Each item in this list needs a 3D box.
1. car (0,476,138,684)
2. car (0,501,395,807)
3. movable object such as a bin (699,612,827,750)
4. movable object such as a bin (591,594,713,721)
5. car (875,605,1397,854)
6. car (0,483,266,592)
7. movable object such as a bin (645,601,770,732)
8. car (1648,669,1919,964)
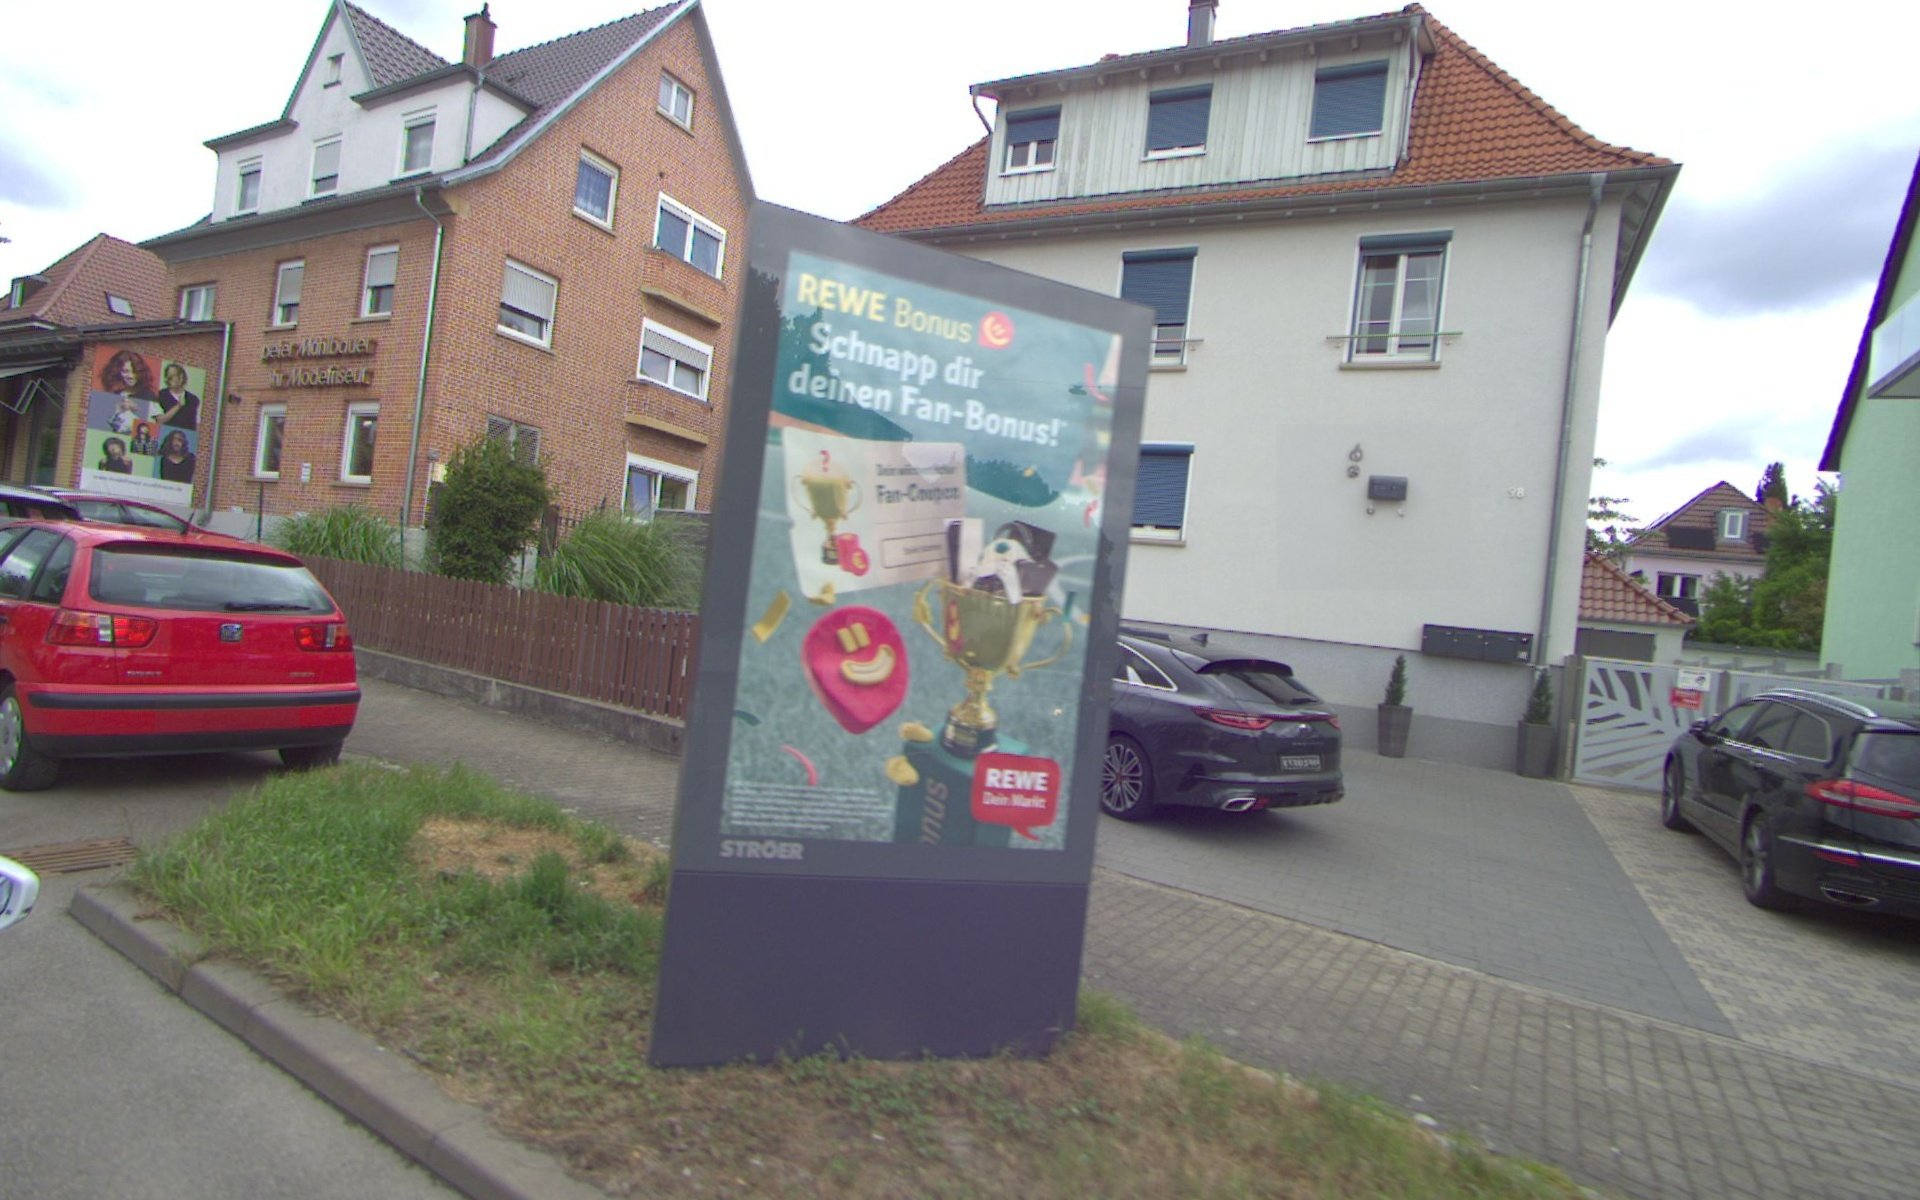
[{"bbox_3d":[-9.155,-0.372,8.696,4.028,1.583,1.666,7,-1,29],"label":"car"},{"bbox_3d":[-5.491,0.170,6.455,3.608,1.410,1.664,7,0,33],"label":"car"},{"bbox_3d":[-1.774,0.727,9.117,0.680,1.117,0.777,7,0,30],"label":"movable object such as a bin"},{"bbox_3d":[-3.018,0.569,9.887,0.680,1.117,0.777,7,0,30],"label":"movable object such as a bin"},{"bbox_3d":[1.229,0.949,8.884,1.808,1.397,4.437,7,-1,-36],"label":"car"},{"bbox_3d":[-14.662,-1.052,17.388,1.777,1.516,3.996,7,1,23],"label":"car"},{"bbox_3d":[-2.385,0.632,9.533,0.680,1.117,0.777,7,0,30],"label":"movable object such as a bin"},{"bbox_3d":[6.842,1.461,7.725,1.664,1.525,4.268,6,1,24],"label":"car"}]
